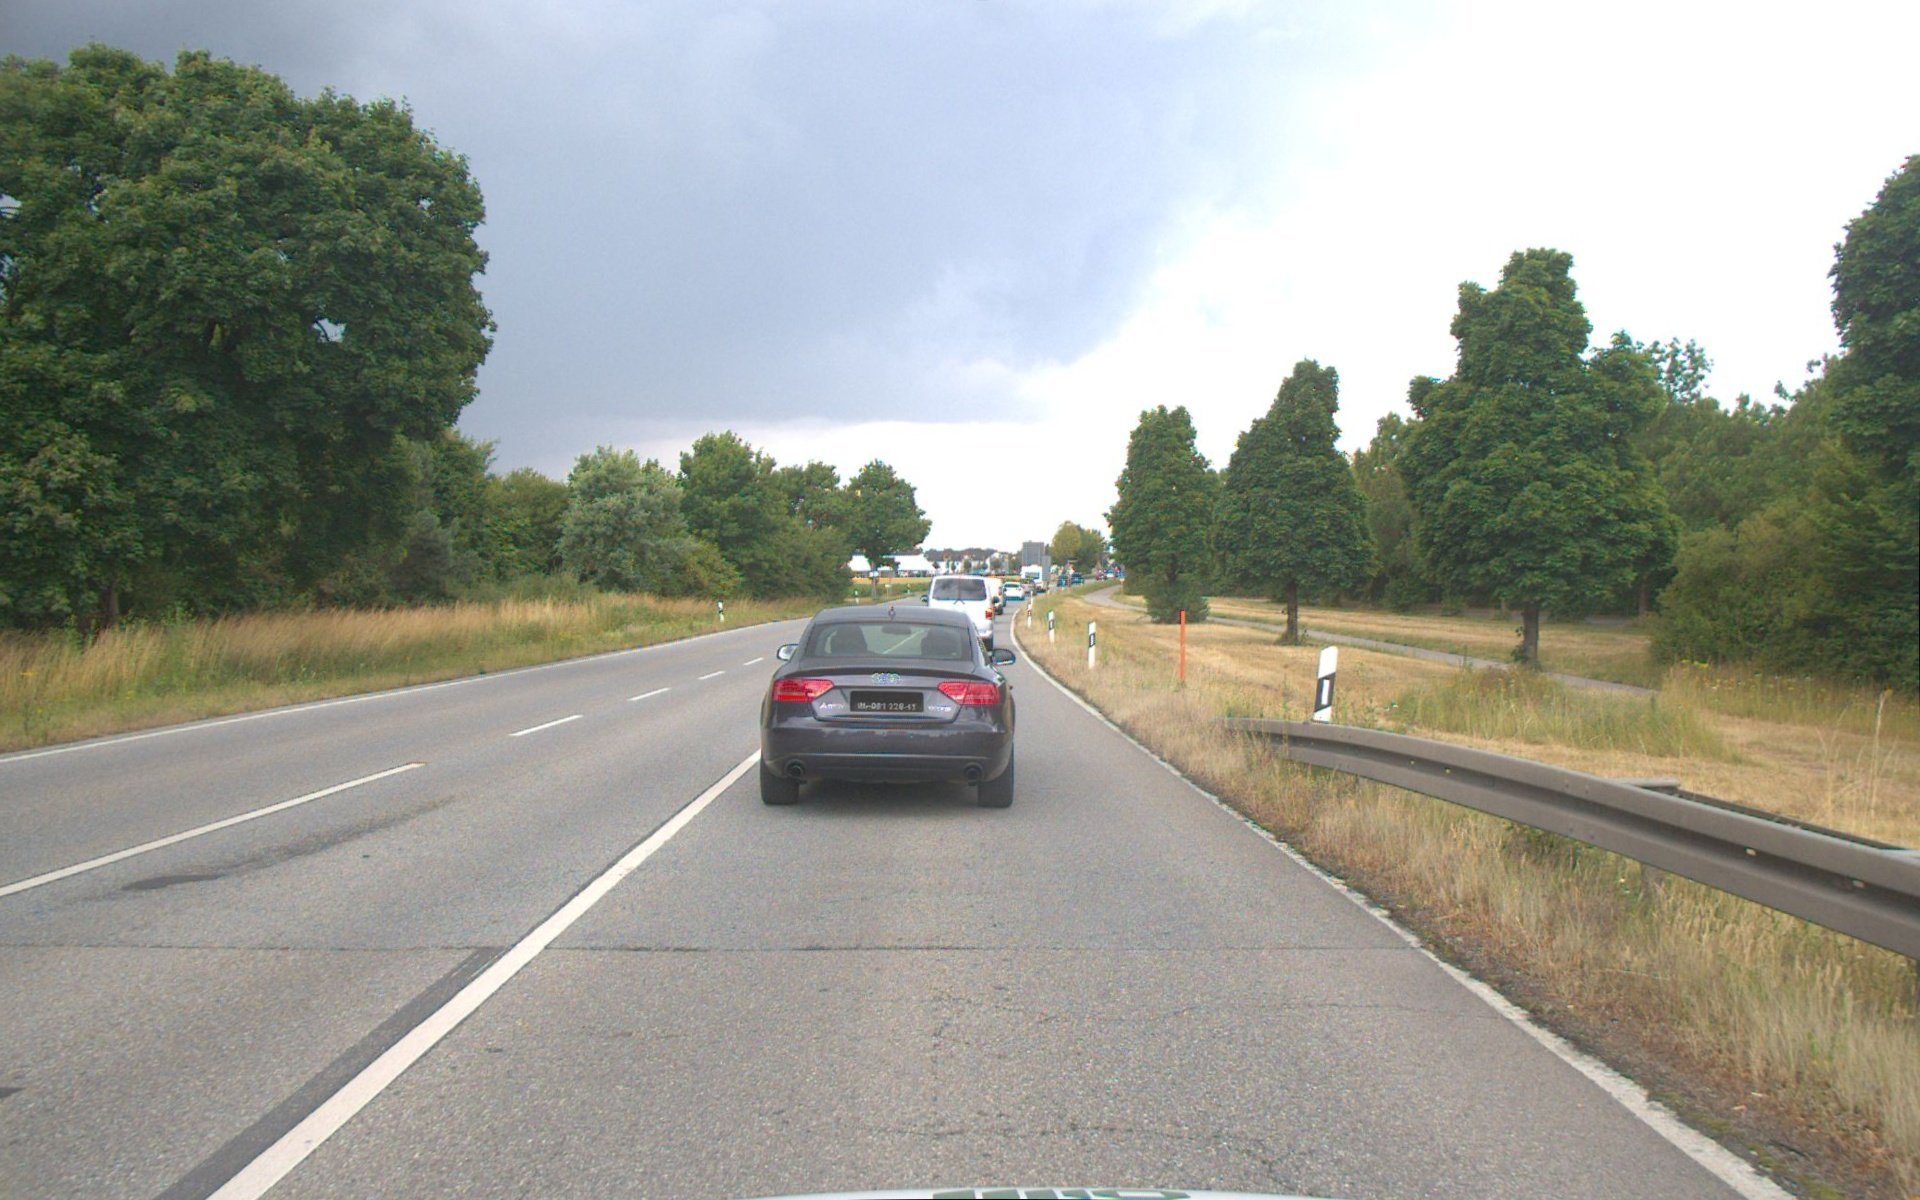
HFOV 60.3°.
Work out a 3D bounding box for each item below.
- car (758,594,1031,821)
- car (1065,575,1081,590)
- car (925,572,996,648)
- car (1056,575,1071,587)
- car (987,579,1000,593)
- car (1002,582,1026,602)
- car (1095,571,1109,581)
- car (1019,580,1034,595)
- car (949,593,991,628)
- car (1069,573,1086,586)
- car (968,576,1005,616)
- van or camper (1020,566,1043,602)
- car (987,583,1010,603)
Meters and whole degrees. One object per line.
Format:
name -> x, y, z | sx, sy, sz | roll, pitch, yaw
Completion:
car -> -0.463, 0.691, 12.717 | 1.747, 1.400, 3.999 | 1, 1, -1
car -> 16.106, -2.477, 235.945 | 1.953, 2.049, 3.999 | 0, 0, -2
car -> -0.040, 0.232, 44.758 | 1.801, 1.915, 3.999 | 1, 1, -1
car -> 13.342, -2.454, 213.130 | 1.684, 1.476, 4.000 | 1, 1, 0
car -> 4.247, -1.771, 208.864 | 1.562, 1.834, 3.200 | 1, 0, 0
car -> 4.266, -0.627, 131.133 | 1.699, 1.541, 3.749 | 0, 0, 5
car -> 21.964, -3.679, 256.289 | 1.784, 1.519, 4.000 | 1, 1, 0
car -> 5.999, -1.139, 148.813 | 1.231, 1.377, 3.468 | 0, 0, 5
car -> 0.488, 0.455, 74.849 | 1.758, 1.489, 3.249 | 1, 0, 2
car -> 14.813, -2.580, 208.051 | 1.784, 1.624, 4.000 | 1, 1, 0
car -> 1.477, -0.231, 91.213 | 1.952, 2.125, 4.001 | 0, 0, 2
van or camper -> 7.243, -1.621, 167.649 | 2.292, 3.542, 5.720 | 0, 0, 2
car -> 2.531, -0.483, 109.509 | 1.503, 1.300, 3.747 | 0, 0, 1
